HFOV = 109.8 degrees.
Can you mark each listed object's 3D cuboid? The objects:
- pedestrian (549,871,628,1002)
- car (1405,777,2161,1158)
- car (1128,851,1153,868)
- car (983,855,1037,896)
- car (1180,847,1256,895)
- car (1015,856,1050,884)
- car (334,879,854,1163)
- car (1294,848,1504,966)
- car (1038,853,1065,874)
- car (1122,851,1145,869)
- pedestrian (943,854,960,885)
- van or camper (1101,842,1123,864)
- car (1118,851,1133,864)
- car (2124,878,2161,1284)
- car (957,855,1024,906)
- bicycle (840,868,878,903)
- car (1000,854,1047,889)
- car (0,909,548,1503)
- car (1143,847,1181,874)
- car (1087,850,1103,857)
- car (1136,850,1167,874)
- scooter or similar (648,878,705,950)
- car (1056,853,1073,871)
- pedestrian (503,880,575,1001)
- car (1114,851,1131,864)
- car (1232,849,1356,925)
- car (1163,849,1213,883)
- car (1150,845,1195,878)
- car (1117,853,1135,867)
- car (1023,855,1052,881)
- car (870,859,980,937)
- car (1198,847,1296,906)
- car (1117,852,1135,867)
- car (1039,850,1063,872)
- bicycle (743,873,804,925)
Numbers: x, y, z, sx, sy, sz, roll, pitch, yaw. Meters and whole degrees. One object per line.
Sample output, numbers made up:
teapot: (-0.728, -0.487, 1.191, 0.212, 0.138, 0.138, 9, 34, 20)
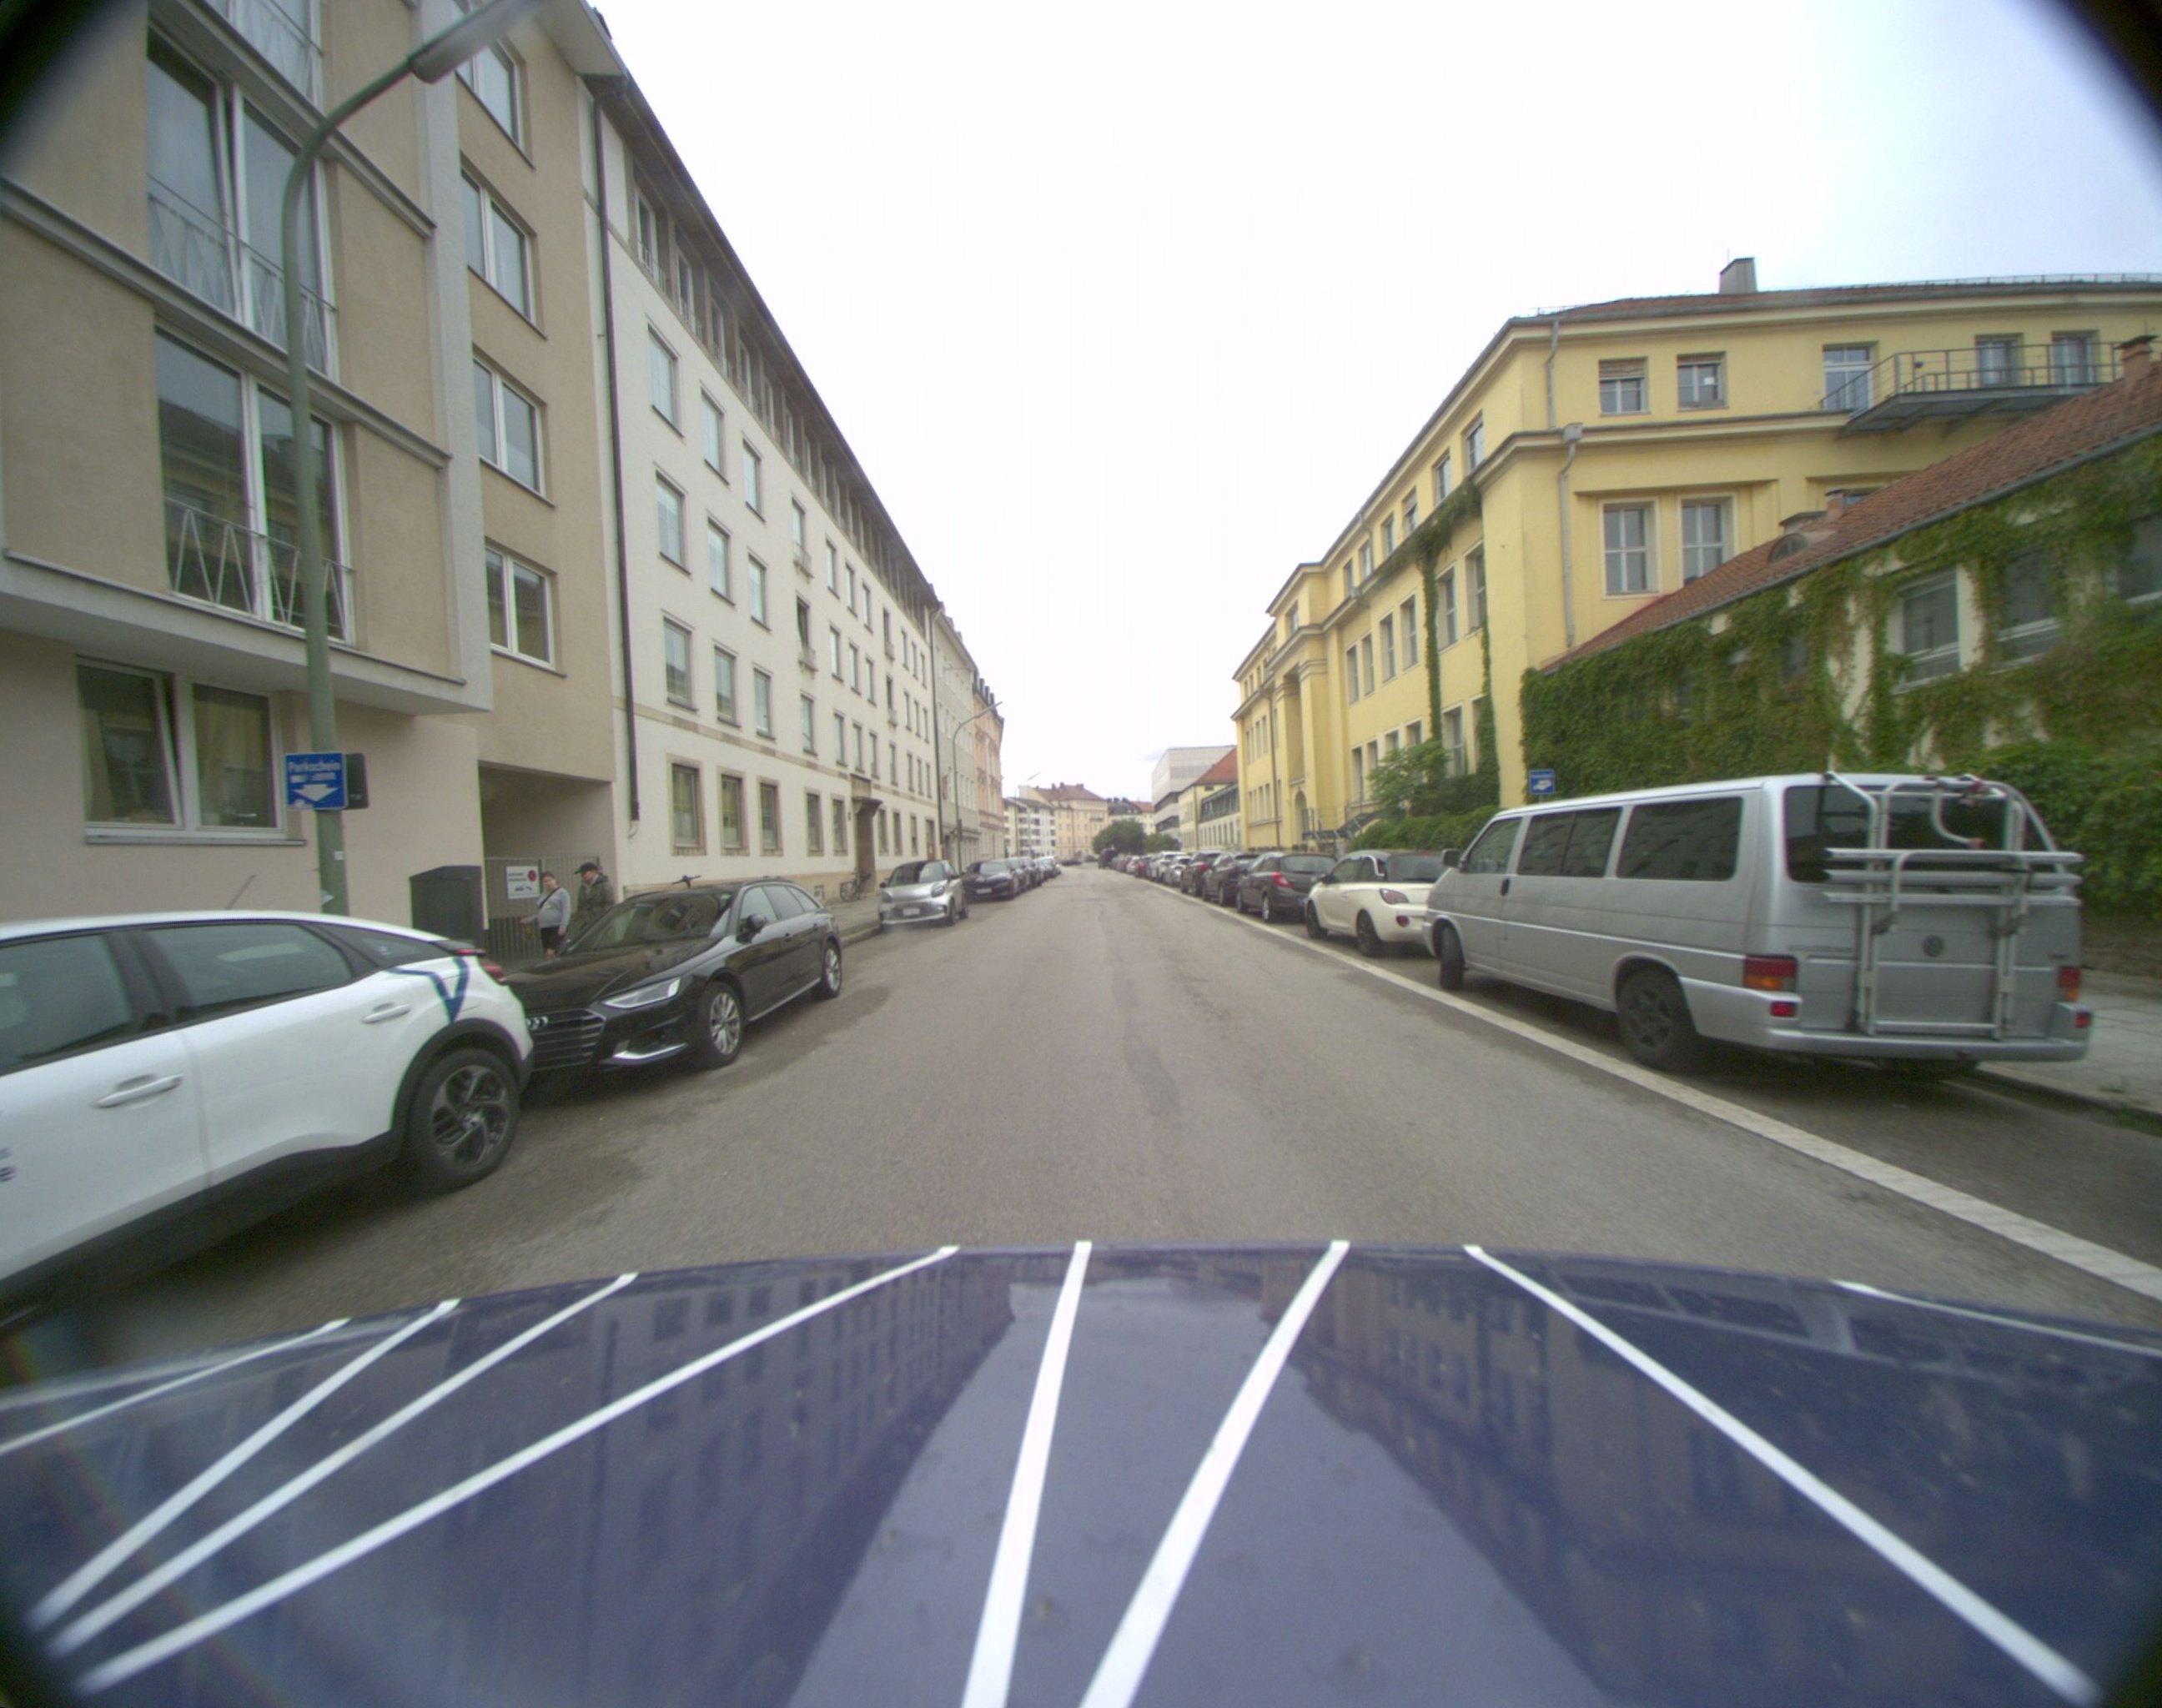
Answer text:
pedestrian: (-6.440, 1.060, 9.956, 0.598, 1.645, 0.630, 0, 1, 1)
car: (4.600, 0.547, 6.143, 1.998, 1.864, 4.758, 1, 0, 1)
car: (4.900, 0.453, 63.226, 1.679, 1.390, 3.996, 0, 0, -2)
car: (-3.076, 0.891, 33.616, 1.783, 1.575, 4.271, -4, 0, 1)
car: (4.706, 0.547, 26.659, 1.786, 1.529, 4.194, 1, 0, -1)
car: (-2.897, 0.918, 46.264, 1.696, 1.455, 4.083, -5, 0, 1)
car: (-3.693, 1.117, 6.975, 1.800, 1.412, 4.482, -6, 0, -1)
car: (4.556, 0.662, 11.494, 1.582, 1.484, 3.729, 0, 1, 0)
car: (-2.266, 0.721, 58.387, 1.696, 1.443, 4.083, -2, 1, 2)
car: (4.724, 0.501, 68.720, 1.679, 1.557, 3.996, 0, 0, -2)
pedestrian: (-6.903, 0.809, 40.483, 0.736, 1.616, 0.828, -1, 1, 1)
van or camper: (4.217, -0.132, 104.887, 2.142, 2.791, 5.569, -1, 0, -7)
car: (5.179, 0.402, 89.242, 1.699, 1.397, 4.001, 0, 0, 2)
car: (4.633, 0.845, 0.522, 1.705, 1.414, 4.424, 2, 1, 0)
car: (-3.242, 0.904, 28.179, 1.860, 1.535, 4.815, -5, 0, -1)
bicycle: (-7.735, 1.072, 26.524, 0.660, 1.120, 2.028, -1, 1, 1)
car: (-2.849, 0.840, 38.553, 1.782, 1.575, 4.330, -4, 0, 2)
car: (-3.964, 1.155, 2.222, 1.743, 1.490, 4.218, -5, 1, -1)
car: (4.810, 0.346, 45.569, 1.684, 1.496, 3.972, -2, 1, -2)
car: (3.611, -0.155, 196.020, 3.997, 1.849, 2.000, -2, 1, 1)
car: (4.615, 0.503, 50.348, 1.684, 1.487, 3.985, 1, 0, 0)
scooter or similar: (-7.931, 1.157, 14.935, 0.601, 1.246, 1.037, -1, 4, -8)
car: (-1.624, 0.793, 74.510, 1.608, 1.633, 3.630, -2, 1, -1)
pedestrian: (-7.333, 1.148, 10.297, 0.532, 1.575, 0.560, 0, 1, 1)
car: (5.096, 0.441, 93.980, 1.700, 1.553, 3.867, 0, 0, -2)
car: (4.529, 0.638, 16.723, 1.582, 1.447, 3.903, 0, 1, 0)
car: (4.868, 0.521, 34.919, 1.684, 1.417, 3.894, 2, 0, 0)
car: (4.796, 0.380, 40.419, 1.684, 1.624, 4.356, 2, 0, -2)
car: (4.640, 0.575, 79.047, 1.798, 1.397, 4.128, 0, 0, 2)
car: (-2.947, 0.935, 51.823, 1.696, 1.574, 4.082, -5, 0, -2)
car: (-3.671, 0.979, 18.563, 1.676, 1.526, 3.881, -5, 0, 1)
car: (4.587, 0.558, 21.577, 1.786, 1.529, 4.148, 0, 1, -1)
car: (4.357, 0.560, 74.081, 1.679, 1.397, 3.991, 0, 0, 2)
car: (-2.697, 0.646, 69.819, 1.845, 1.775, 4.895, -5, 0, 1)
bicycle: (-7.781, 1.113, 19.317, 0.660, 1.156, 2.028, -1, 1, 1)
